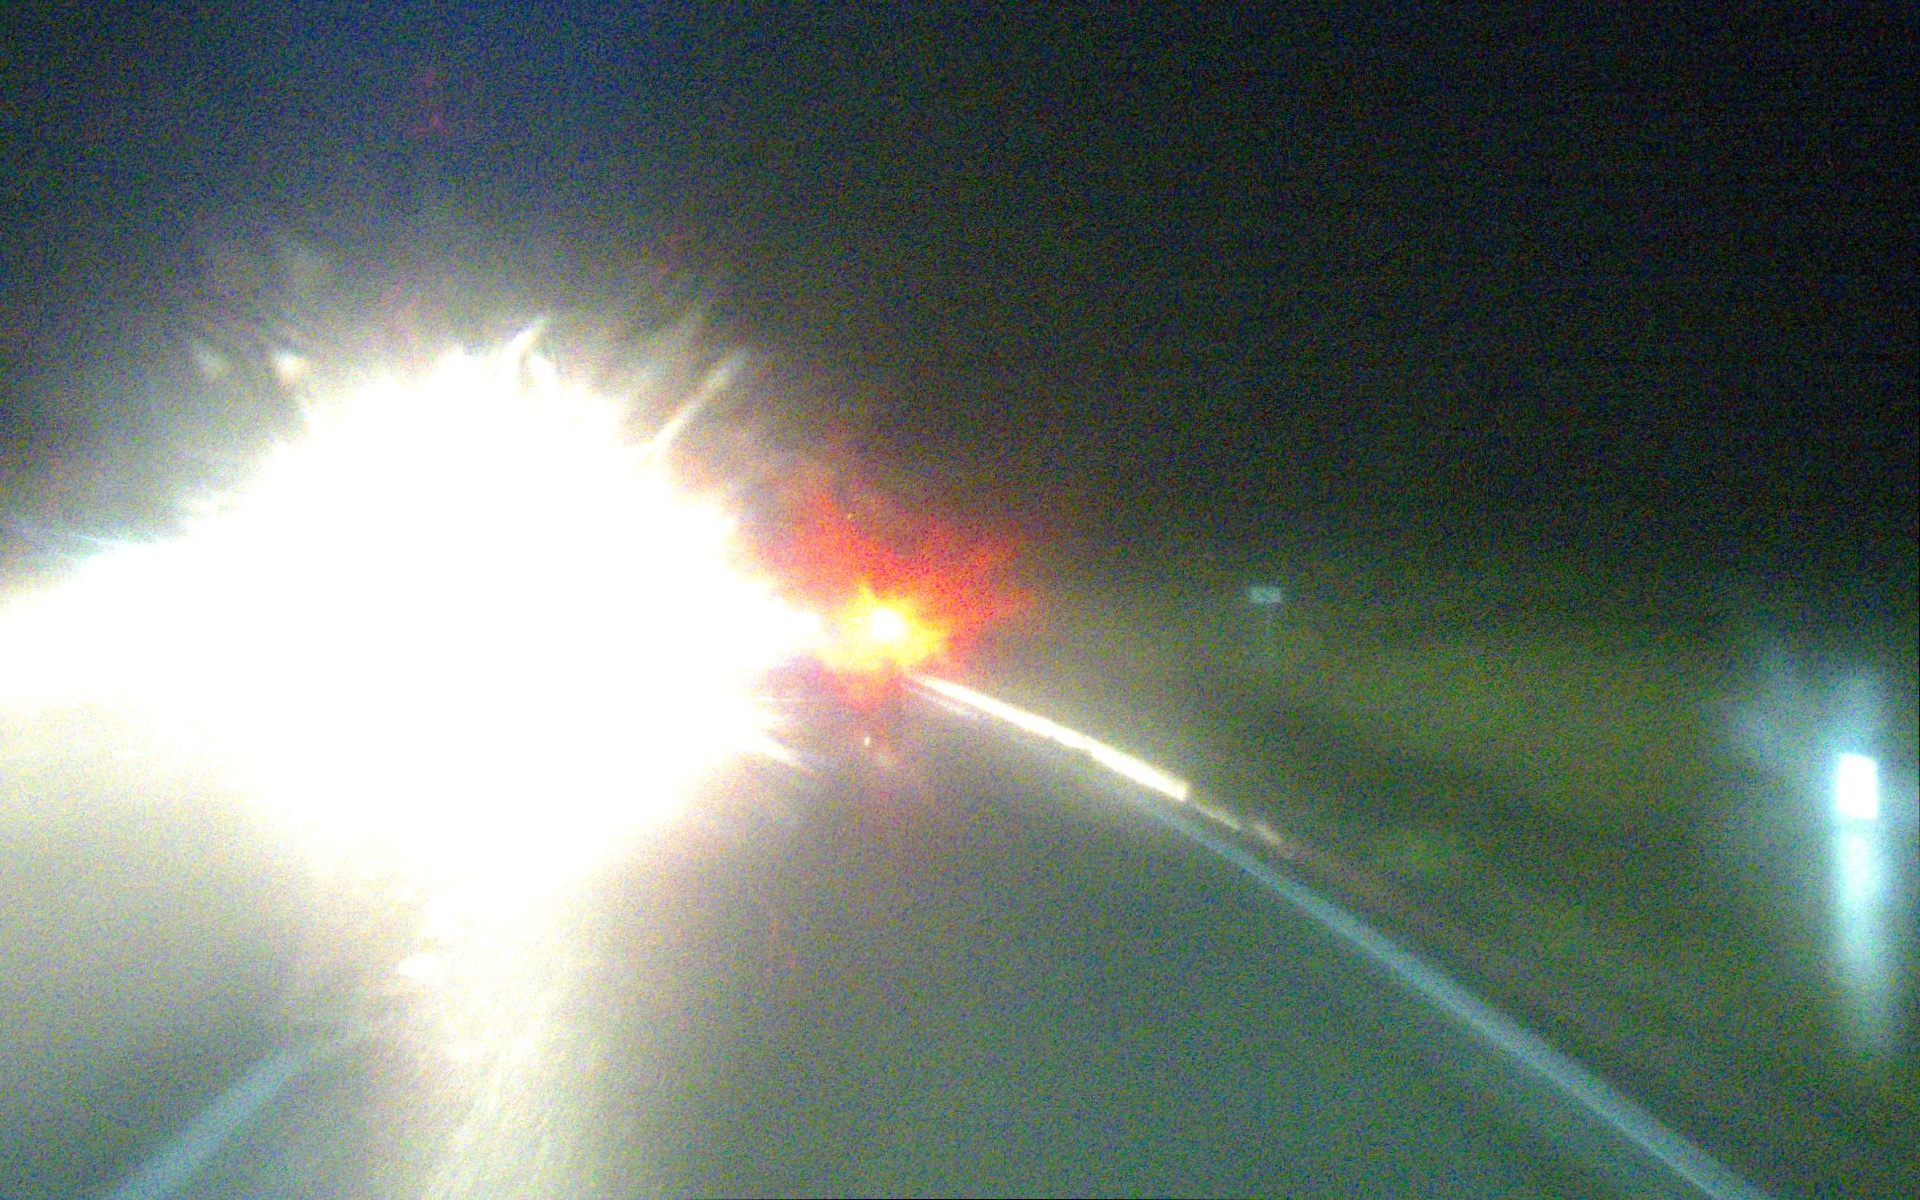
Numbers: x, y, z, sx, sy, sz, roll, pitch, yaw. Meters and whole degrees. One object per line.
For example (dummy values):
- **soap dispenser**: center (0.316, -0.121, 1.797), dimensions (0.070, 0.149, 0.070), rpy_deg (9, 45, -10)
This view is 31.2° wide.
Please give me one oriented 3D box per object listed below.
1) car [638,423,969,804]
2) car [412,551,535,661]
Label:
- **car**: center (-1.216, 0.052, 26.250), dimensions (2.181, 2.548, 4.508), rpy_deg (3, 1, -3)
- **car**: center (-7.445, 0.064, 52.815), dimensions (1.563, 1.520, 3.486), rpy_deg (-2, 2, -4)
